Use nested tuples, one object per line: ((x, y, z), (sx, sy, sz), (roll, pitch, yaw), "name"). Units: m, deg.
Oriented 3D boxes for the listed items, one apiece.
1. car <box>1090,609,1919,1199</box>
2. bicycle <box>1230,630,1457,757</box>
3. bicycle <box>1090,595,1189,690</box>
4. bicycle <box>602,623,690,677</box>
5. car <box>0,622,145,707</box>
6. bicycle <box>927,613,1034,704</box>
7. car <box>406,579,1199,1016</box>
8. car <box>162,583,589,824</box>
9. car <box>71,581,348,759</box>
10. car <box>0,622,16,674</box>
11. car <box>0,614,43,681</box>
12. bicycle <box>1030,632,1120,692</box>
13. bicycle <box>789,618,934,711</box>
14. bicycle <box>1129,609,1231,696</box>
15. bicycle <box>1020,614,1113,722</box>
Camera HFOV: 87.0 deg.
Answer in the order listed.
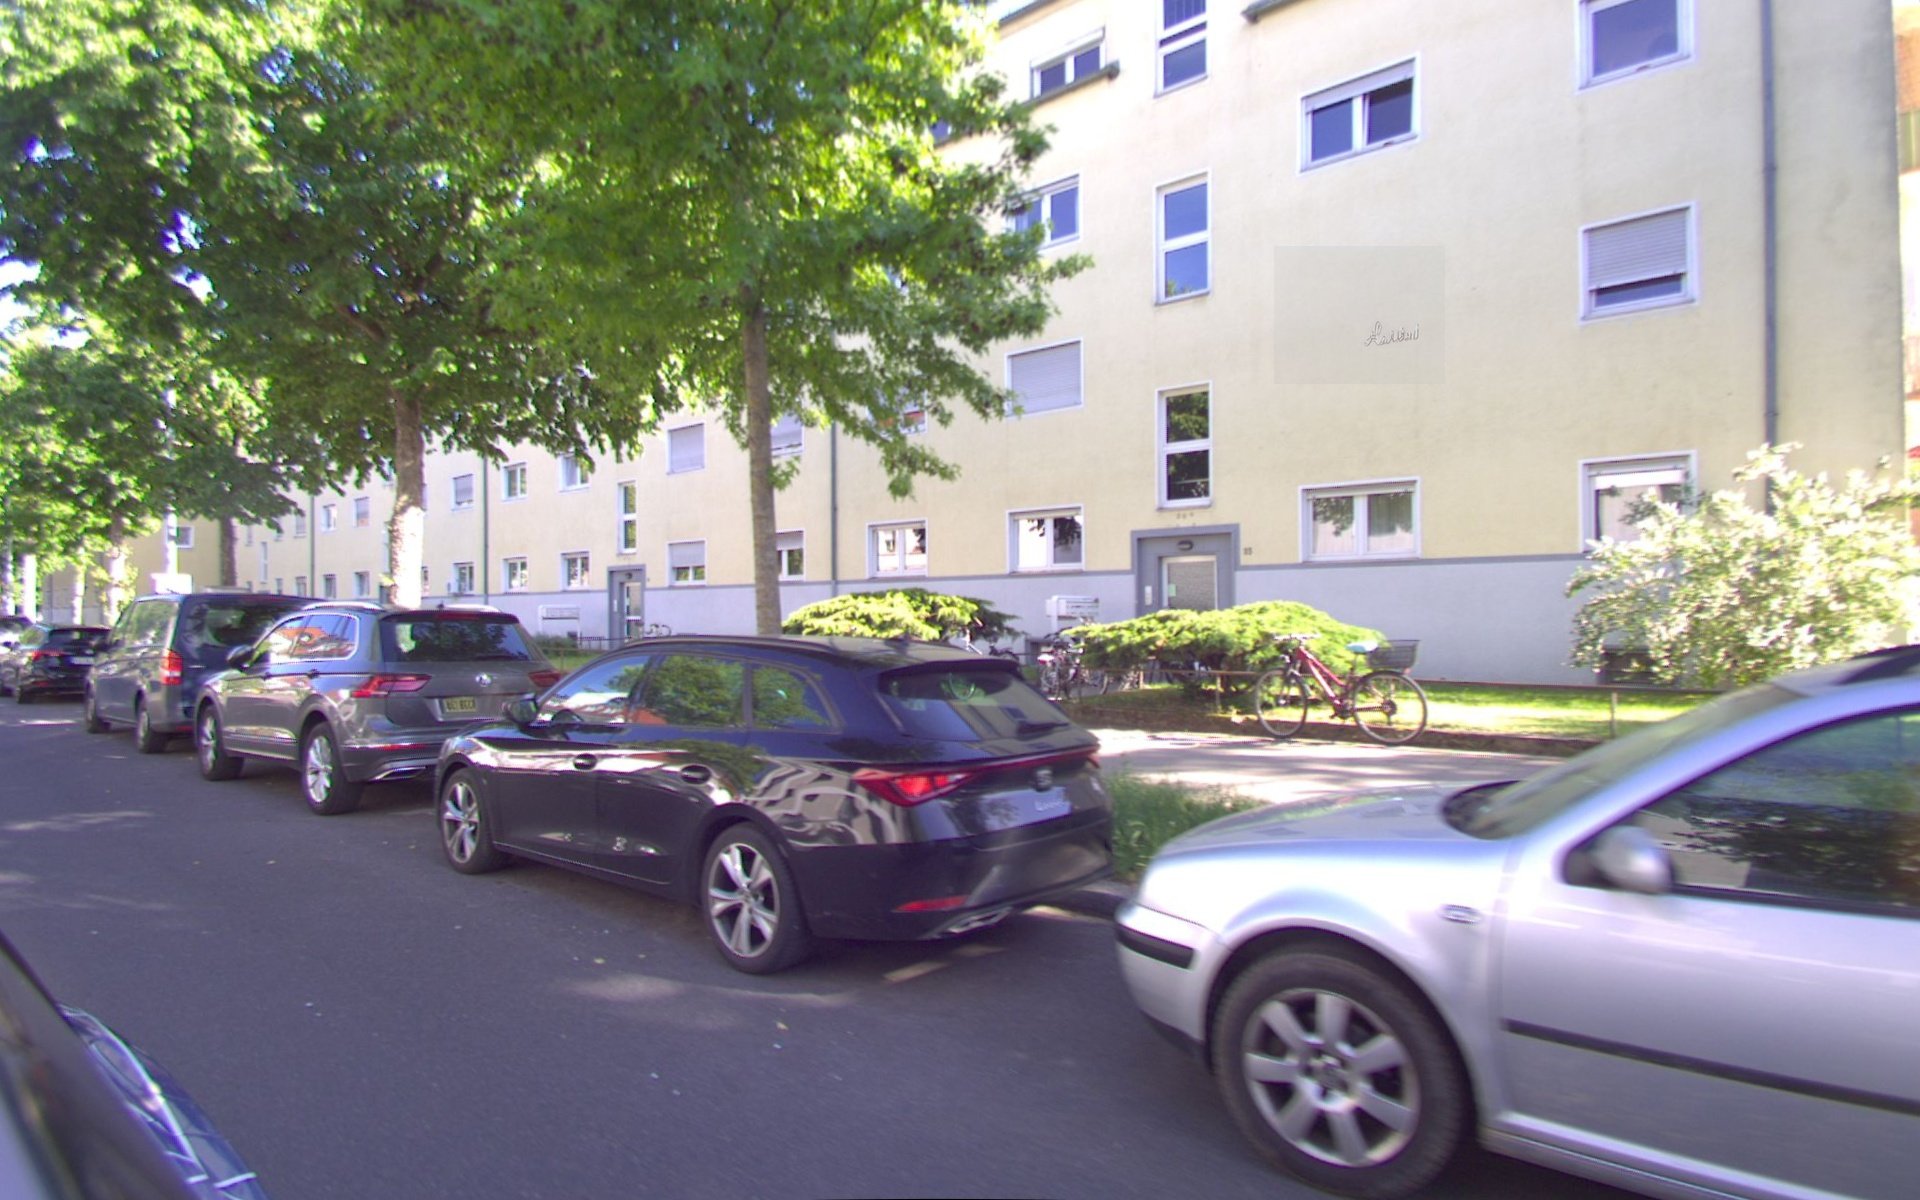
((2.646, 0.772, 2.249), (4.485, 1.492, 1.689), (-1, -2, 39), "car")
((3.587, 0.834, 9.596), (1.932, 1.069, 0.566), (-1, -1, 41), "bicycle")
((2.489, 0.552, 13.914), (0.590, 1.235, 1.618), (-1, -1, 40), "bicycle")
((-5.705, 0.884, 18.335), (1.901, 0.923, 0.589), (-1, -2, 39), "bicycle")
((-17.524, 1.211, 19.771), (4.061, 1.482, 1.757), (-1, -4, 41), "car")
((0.319, 0.819, 14.799), (0.517, 1.235, 1.802), (-1, -1, 41), "bicycle")
((-1.155, 0.714, 5.531), (4.485, 1.463, 1.775), (-1, -2, 40), "car")
((-5.477, 0.782, 9.246), (4.519, 1.699, 1.777), (-1, -2, 37), "car")
((-9.629, 0.787, 12.827), (4.863, 1.864, 1.775), (-1, -2, 41), "car")
((-30.427, 1.472, 31.172), (3.414, 1.556, 1.585), (-1, -1, 40), "car")
((-26.443, 1.267, 27.458), (3.999, 1.741, 1.840), (-1, -3, 42), "car")
((1.886, 0.981, 16.410), (0.585, 0.876, 1.691), (-1, -1, 41), "bicycle")
((-1.397, 0.861, 14.007), (2.259, 1.199, 0.589), (-1, -2, 39), "bicycle")
((3.398, 0.763, 15.514), (0.776, 1.235, 1.933), (-1, 0, 37), "bicycle")
((1.354, 0.802, 12.611), (0.515, 1.235, 1.623), (-1, 0, 31), "bicycle")
